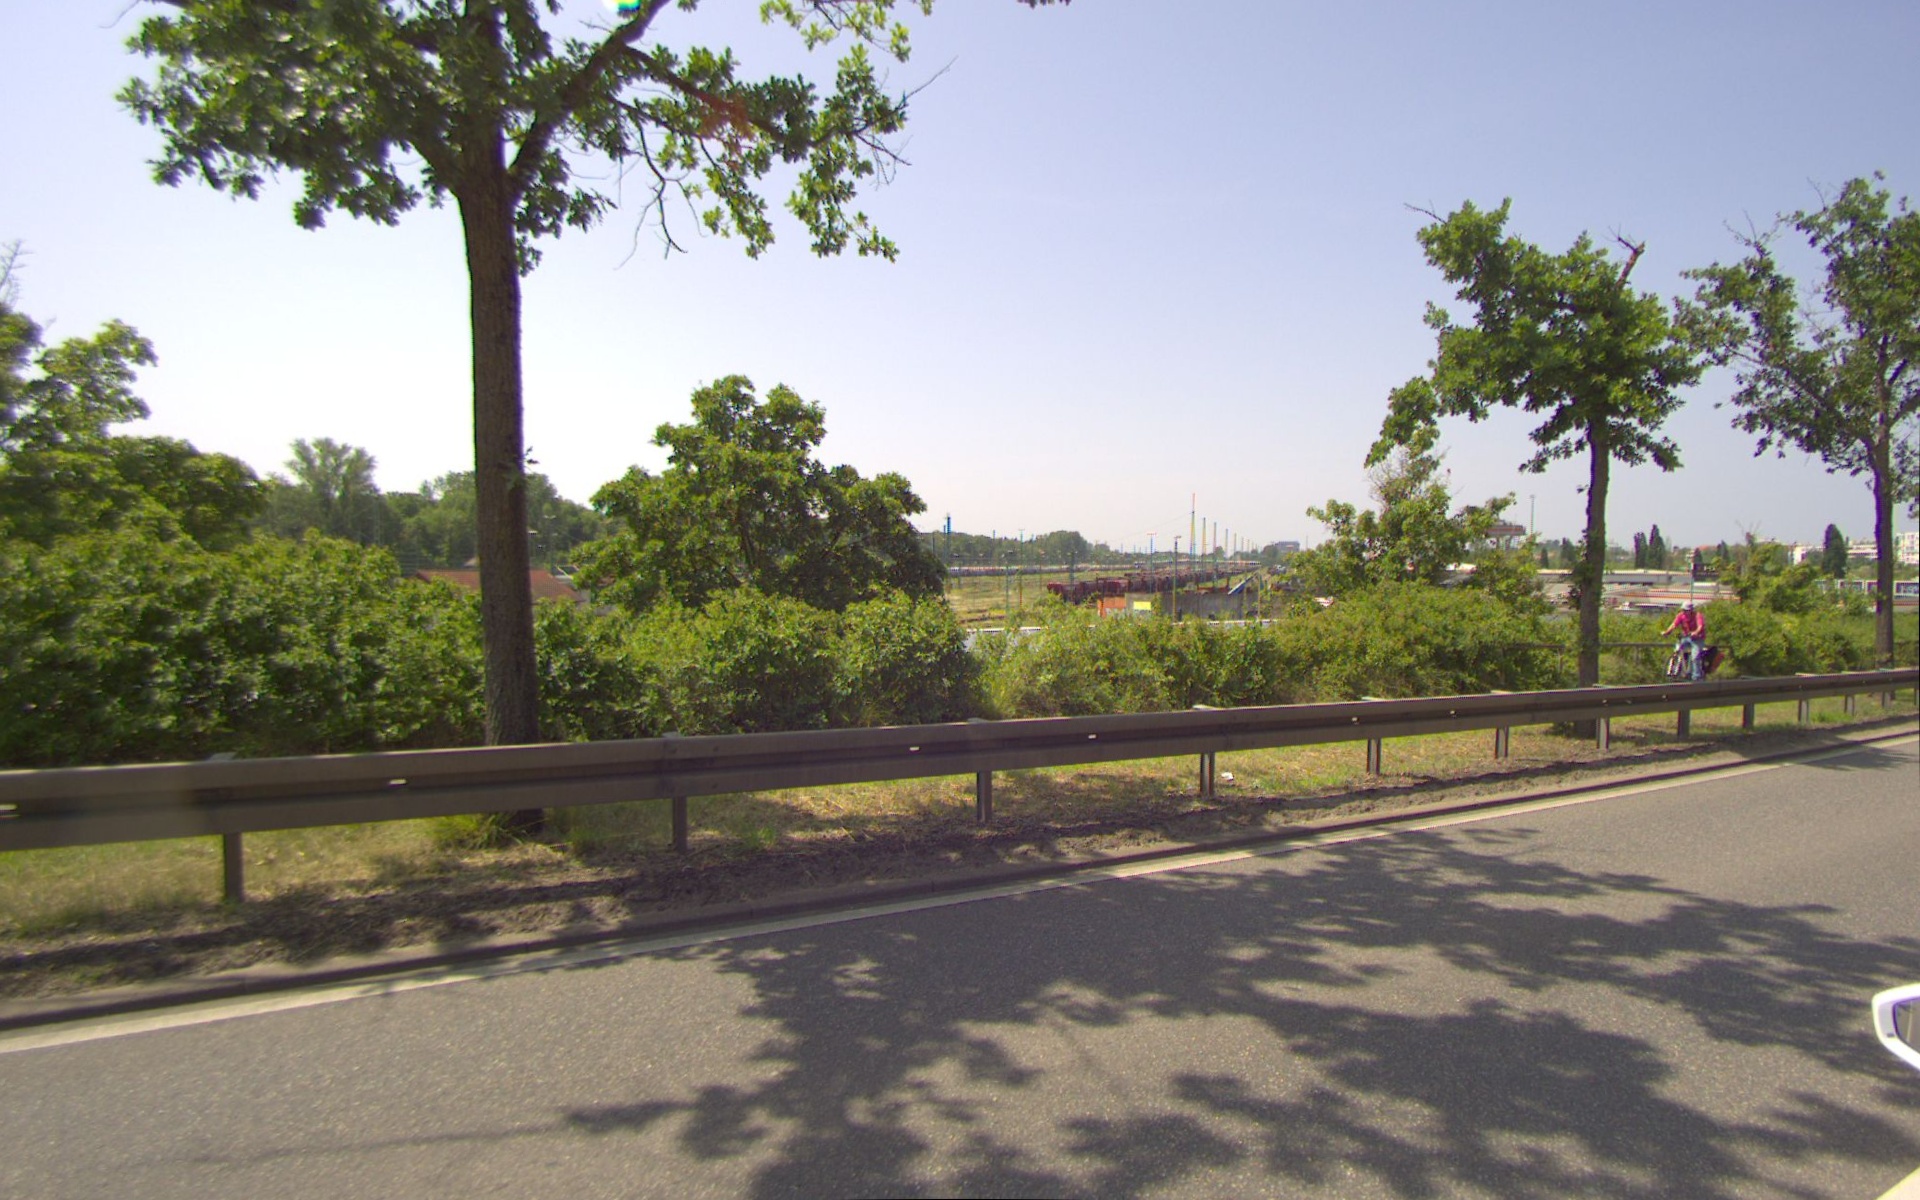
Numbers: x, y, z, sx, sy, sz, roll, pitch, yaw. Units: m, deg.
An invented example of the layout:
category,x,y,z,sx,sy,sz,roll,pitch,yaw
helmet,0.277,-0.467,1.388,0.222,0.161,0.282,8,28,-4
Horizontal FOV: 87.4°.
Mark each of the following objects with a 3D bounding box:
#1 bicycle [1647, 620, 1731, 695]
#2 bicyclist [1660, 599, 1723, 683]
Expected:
category,x,y,z,sx,sy,sz,roll,pitch,yaw
bicycle,13.500,1.035,18.585,2.028,1.298,0.728,1,1,-39
bicyclist,13.511,0.742,18.565,0.750,1.509,0.736,1,1,-38
